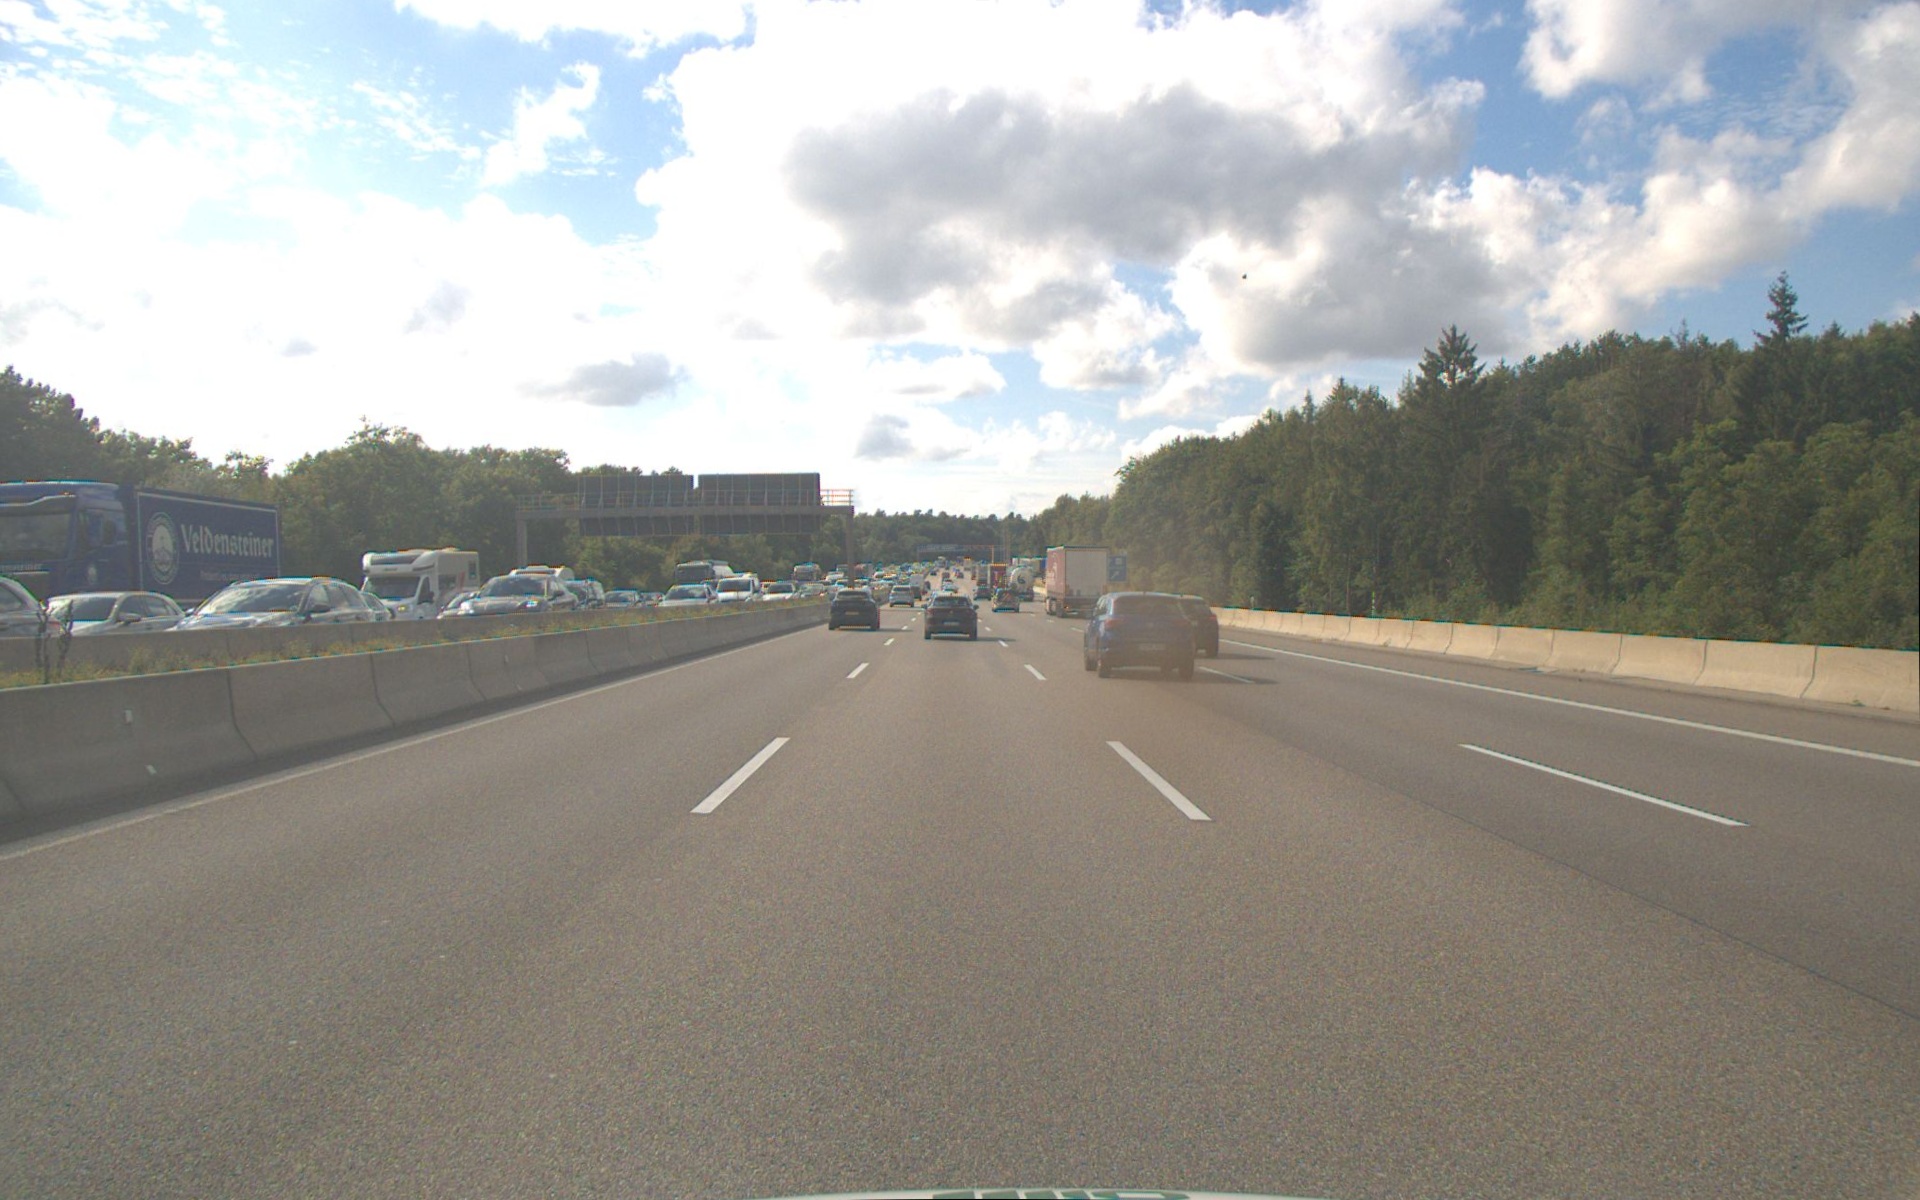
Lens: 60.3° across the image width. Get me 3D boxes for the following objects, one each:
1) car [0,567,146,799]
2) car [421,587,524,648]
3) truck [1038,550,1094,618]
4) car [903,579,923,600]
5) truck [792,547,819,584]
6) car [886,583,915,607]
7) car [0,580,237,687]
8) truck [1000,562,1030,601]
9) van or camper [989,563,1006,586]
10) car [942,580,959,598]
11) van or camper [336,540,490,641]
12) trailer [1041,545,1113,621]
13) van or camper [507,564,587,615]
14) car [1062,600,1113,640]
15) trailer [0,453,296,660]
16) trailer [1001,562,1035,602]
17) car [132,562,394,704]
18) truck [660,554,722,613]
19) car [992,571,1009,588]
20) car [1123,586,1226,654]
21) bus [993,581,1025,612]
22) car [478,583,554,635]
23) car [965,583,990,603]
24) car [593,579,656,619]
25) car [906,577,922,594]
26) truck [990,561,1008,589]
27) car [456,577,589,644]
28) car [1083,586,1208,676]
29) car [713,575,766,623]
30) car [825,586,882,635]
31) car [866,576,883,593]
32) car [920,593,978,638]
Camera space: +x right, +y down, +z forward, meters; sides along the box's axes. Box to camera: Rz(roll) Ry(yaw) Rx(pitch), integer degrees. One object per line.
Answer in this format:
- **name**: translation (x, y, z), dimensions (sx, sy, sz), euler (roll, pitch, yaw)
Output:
- **car**: translation (-9.321, 0.720, 14.834), dimensions (1.707, 2.049, 4.682), euler (1, 0, -1)
- **car**: translation (-14.162, 0.493, 48.267), dimensions (1.795, 1.689, 4.271), euler (0, 0, -1)
- **truck**: translation (6.664, -0.965, 104.445), dimensions (3.017, 4.134, 6.068), euler (1, 0, -1)
- **car**: translation (-4.752, -1.049, 167.764), dimensions (1.953, 2.049, 3.999), euler (1, 0, -1)
- **truck**: translation (-18.795, -4.177, 201.355), dimensions (2.795, 4.308, 5.712), euler (1, 1, -1)
- **car**: translation (-4.684, -0.385, 129.651), dimensions (2.111, 1.807, 4.000), euler (1, 0, 0)
- **car**: translation (-13.249, 0.468, 25.991), dimensions (1.689, 1.508, 4.902), euler (0, 0, -1)
- **truck**: translation (5.995, -2.053, 182.037), dimensions (2.983, 4.233, 7.126), euler (0, 0, -1)
- **van or camper**: translation (5.457, -3.628, 239.537), dimensions (2.303, 3.199, 5.710), euler (1, 0, 1)
- **car**: translation (-1.107, -1.232, 192.519), dimensions (1.953, 2.049, 3.999), euler (-1, 0, -1)
- **van or camper**: translation (-17.323, -0.211, 52.947), dimensions (2.419, 2.940, 7.480), euler (1, -1, 0)
- **trailer**: translation (6.748, -0.882, 97.577), dimensions (2.976, 4.106, 13.887), euler (1, 0, -1)
- **van or camper**: translation (-17.598, -0.460, 70.721), dimensions (2.237, 2.046, 4.688), euler (1, 0, 0)
- **car**: translation (5.204, 0.799, 67.830), dimensions (1.680, 1.537, 4.301), euler (0, 0, -1)
- **trailer**: translation (-17.449, -0.820, 34.924), dimensions (2.829, 3.722, 10.218), euler (0, 0, -1)
- **trailer**: translation (6.094, -1.913, 175.327), dimensions (2.974, 4.086, 12.242), euler (0, 0, -1)
- **car**: translation (-9.619, 0.408, 23.264), dimensions (1.780, 1.795, 4.629), euler (0, 0, -1)
- **truck**: translation (-18.556, -1.115, 114.546), dimensions (3.348, 3.968, 6.800), euler (0, 0, -2)
- **car**: translation (5.136, -2.550, 207.657), dimensions (1.953, 2.049, 3.999), euler (1, 0, -1)
- **car**: translation (5.439, 0.504, 42.580), dimensions (1.953, 1.602, 5.277), euler (1, 0, 0)
- **bus**: translation (3.306, -0.228, 111.907), dimensions (1.953, 2.049, 3.999), euler (1, 0, 0)
- **car**: translation (-17.235, 0.325, 64.414), dimensions (1.795, 1.949, 4.481), euler (1, 0, -1)
- **car**: translation (1.811, -0.758, 176.302), dimensions (1.957, 2.049, 3.991), euler (1, 0, -9)
- **car**: translation (-13.780, -0.066, 68.092), dimensions (1.795, 1.564, 4.242), euler (1, 0, -1)
- **car**: translation (-5.918, -1.813, 212.149), dimensions (1.953, 2.049, 3.999), euler (1, 0, -1)
- **truck**: translation (5.386, -3.443, 231.888), dimensions (2.309, 3.635, 11.266), euler (1, 0, 1)
- **car**: translation (-9.879, 0.213, 37.735), dimensions (1.795, 1.412, 4.902), euler (0, 0, -1)
- **car**: translation (3.441, 0.570, 31.510), dimensions (1.884, 1.568, 4.645), euler (0, -1, 0)
- **car**: translation (-10.173, -0.069, 76.553), dimensions (1.795, 2.098, 5.499), euler (-1, 0, -1)
- **car**: translation (-4.082, 0.390, 64.069), dimensions (1.953, 1.807, 4.000), euler (0, 0, 0)
- **car**: translation (-10.900, -1.988, 210.473), dimensions (1.953, 2.049, 4.409), euler (0, 0, 0)
- **car**: translation (-0.401, 0.484, 54.106), dimensions (1.699, 1.389, 3.998), euler (1, 0, -3)
